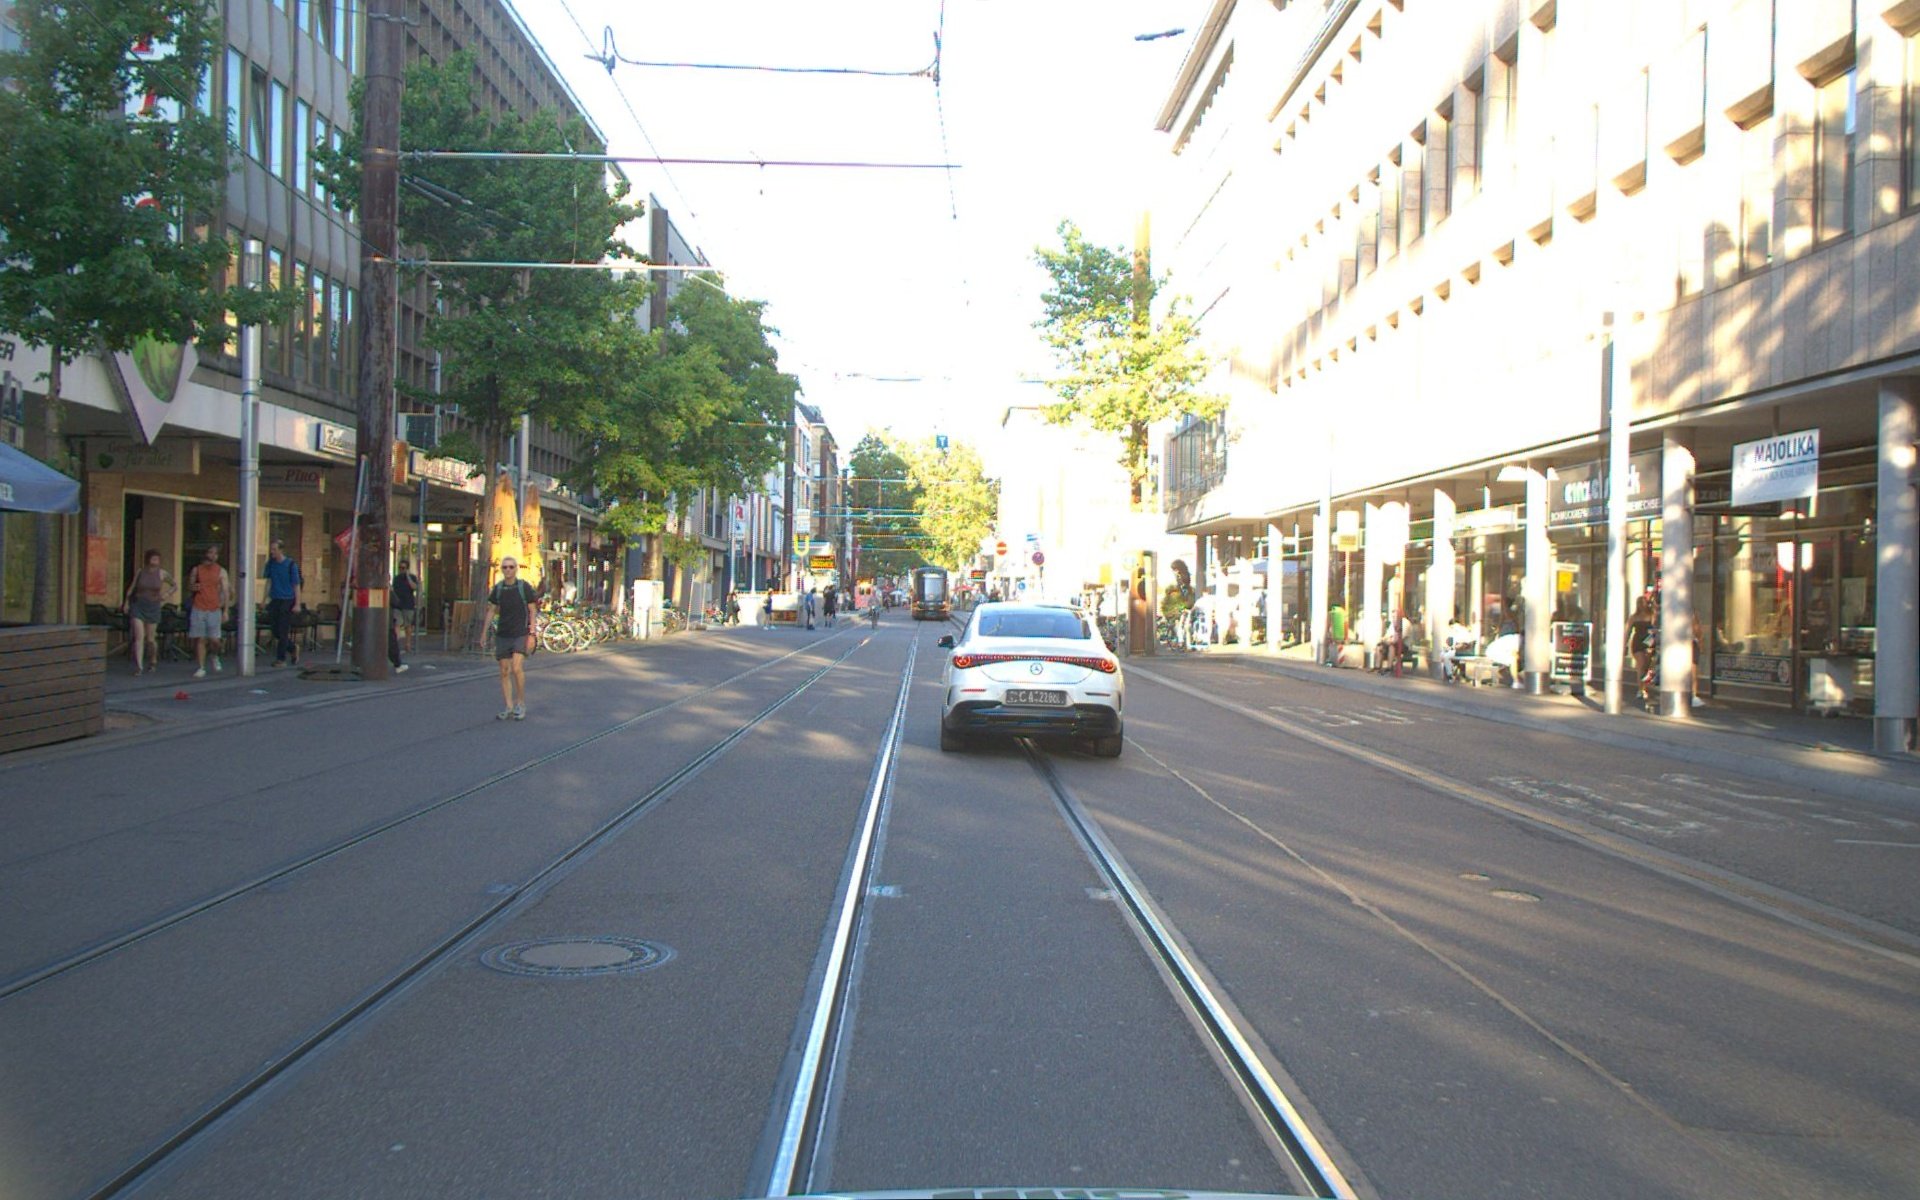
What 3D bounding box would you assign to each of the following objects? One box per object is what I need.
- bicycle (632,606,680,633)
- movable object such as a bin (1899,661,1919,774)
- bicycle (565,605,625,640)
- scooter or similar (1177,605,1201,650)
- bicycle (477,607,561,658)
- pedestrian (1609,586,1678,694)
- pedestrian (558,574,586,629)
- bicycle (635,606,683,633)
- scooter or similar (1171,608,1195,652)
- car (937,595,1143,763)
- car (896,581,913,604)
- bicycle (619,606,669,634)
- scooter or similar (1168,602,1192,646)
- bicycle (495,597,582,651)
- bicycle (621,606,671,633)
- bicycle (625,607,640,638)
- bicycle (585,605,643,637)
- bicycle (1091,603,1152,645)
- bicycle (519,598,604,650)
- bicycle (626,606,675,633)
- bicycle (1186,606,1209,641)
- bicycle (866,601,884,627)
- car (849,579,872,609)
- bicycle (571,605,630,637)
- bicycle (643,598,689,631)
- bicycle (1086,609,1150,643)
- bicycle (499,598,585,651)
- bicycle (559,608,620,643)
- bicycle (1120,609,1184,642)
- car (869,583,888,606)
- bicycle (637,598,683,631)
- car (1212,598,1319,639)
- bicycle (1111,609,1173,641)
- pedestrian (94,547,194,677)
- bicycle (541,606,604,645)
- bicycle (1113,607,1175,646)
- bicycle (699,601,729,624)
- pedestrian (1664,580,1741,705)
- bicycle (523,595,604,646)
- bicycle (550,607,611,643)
[{"bbox_3d":[-9.815,0.633,53.398,1.462,0.797,0.344,2,0,0],"label":"bicycle"},{"bbox_3d":[8.495,1.018,13.977,0.676,0.940,0.718,3,0,-1],"label":"movable object such as a bin"},{"bbox_3d":[-9.644,0.605,43.683,1.462,0.855,0.344,2,0,0],"label":"bicycle"},{"bbox_3d":[6.701,0.797,48.385,0.483,1.299,0.658,-1,0,-12],"label":"scooter or similar"},{"bbox_3d":[-8.787,0.645,32.964,1.562,0.946,0.377,2,0,5],"label":"bicycle"},{"bbox_3d":[11.194,0.638,27.113,0.729,1.730,0.857,1,0,-1],"label":"pedestrian"},{"bbox_3d":[-12.816,0.056,54.634,0.776,1.797,0.533,1,0,-26],"label":"pedestrian"},{"bbox_3d":[-9.790,0.626,53.767,1.462,0.797,0.344,2,0,0],"label":"bicycle"},{"bbox_3d":[6.600,0.879,48.946,0.518,1.299,0.658,-1,0,-12],"label":"scooter or similar"},{"bbox_3d":[0.715,0.722,17.347,1.820,1.480,4.174,2,0,-1],"label":"car"},{"bbox_3d":[-7.265,-1.022,215.404,2.056,2.948,5.274,1,0,-1],"label":"car"},{"bbox_3d":[-9.924,0.619,51.958,1.462,0.797,0.344,2,0,0],"label":"bicycle"},{"bbox_3d":[6.576,0.704,49.477,0.518,1.299,0.658,-1,0,-12],"label":"scooter or similar"},{"bbox_3d":[-9.106,0.516,35.775,1.754,1.096,0.377,2,0,-6],"label":"bicycle"},{"bbox_3d":[-9.928,0.624,52.313,1.462,0.797,0.344,2,0,0],"label":"bicycle"},{"bbox_3d":[-9.114,0.623,46.043,0.337,0.797,1.402,2,0,-9],"label":"bicycle"},{"bbox_3d":[-9.435,0.570,45.100,1.462,0.797,0.344,2,0,0],"label":"bicycle"},{"bbox_3d":[5.254,0.779,53.849,1.875,1.304,0.608,-1,0,-13],"label":"bicycle"},{"bbox_3d":[-9.020,0.549,37.468,1.810,1.096,0.377,2,0,-6],"label":"bicycle"},{"bbox_3d":[-9.928,0.621,53.032,1.462,0.797,0.344,2,0,0],"label":"bicycle"},{"bbox_3d":[7.885,0.770,54.905,0.553,1.147,1.930,-1,0,2],"label":"bicycle"},{"bbox_3d":[-3.991,0.638,78.118,0.784,1.162,2.256,3,0,-3],"label":"bicycle"},{"bbox_3d":[-9.901,-0.575,164.500,1.953,2.948,5.274,1,0,-1],"label":"car"},{"bbox_3d":[-9.652,0.561,44.402,1.462,0.797,0.344,2,0,0],"label":"bicycle"},{"bbox_3d":[-9.809,0.489,55.165,1.466,1.047,0.344,2,0,-12],"label":"bicycle"},{"bbox_3d":[5.428,0.889,56.838,2.077,1.115,0.608,1,-1,-13],"label":"bicycle"},{"bbox_3d":[-9.145,0.537,36.229,1.754,1.096,0.377,2,0,-6],"label":"bicycle"},{"bbox_3d":[-9.645,0.656,43.069,1.462,0.855,0.344,2,0,0],"label":"bicycle"},{"bbox_3d":[6.532,0.868,56.197,2.078,1.115,0.607,1,0,-14],"label":"bicycle"},{"bbox_3d":[-9.000,-0.564,183.313,1.871,2.504,5.274,1,0,-1],"label":"car"},{"bbox_3d":[-9.931,0.490,54.723,1.466,1.027,0.344,2,0,-12],"label":"bicycle"},{"bbox_3d":[11.656,0.701,63.178,3.728,1.499,1.647,1,0,-6],"label":"car"},{"bbox_3d":[6.419,0.869,58.393,2.077,1.115,0.608,1,0,-13],"label":"bicycle"},{"bbox_3d":[-10.932,0.156,22.171,0.831,1.666,0.762,3,0,19],"label":"pedestrian"},{"bbox_3d":[-9.674,0.637,41.293,1.464,0.892,0.344,2,0,-7],"label":"bicycle"},{"bbox_3d":[5.899,0.843,52.944,1.875,1.177,0.608,-1,0,-13],"label":"bicycle"},{"bbox_3d":[-11.340,0.572,76.324,0.703,1.027,2.041,1,0,12],"label":"bicycle"},{"bbox_3d":[11.156,0.629,24.882,0.729,1.824,0.857,1,0,-1],"label":"pedestrian"},{"bbox_3d":[-9.580,0.496,39.970,1.808,1.160,0.377,2,0,0],"label":"bicycle"},{"bbox_3d":[-9.781,0.641,42.665,1.462,0.855,0.344,2,0,0],"label":"bicycle"}]
